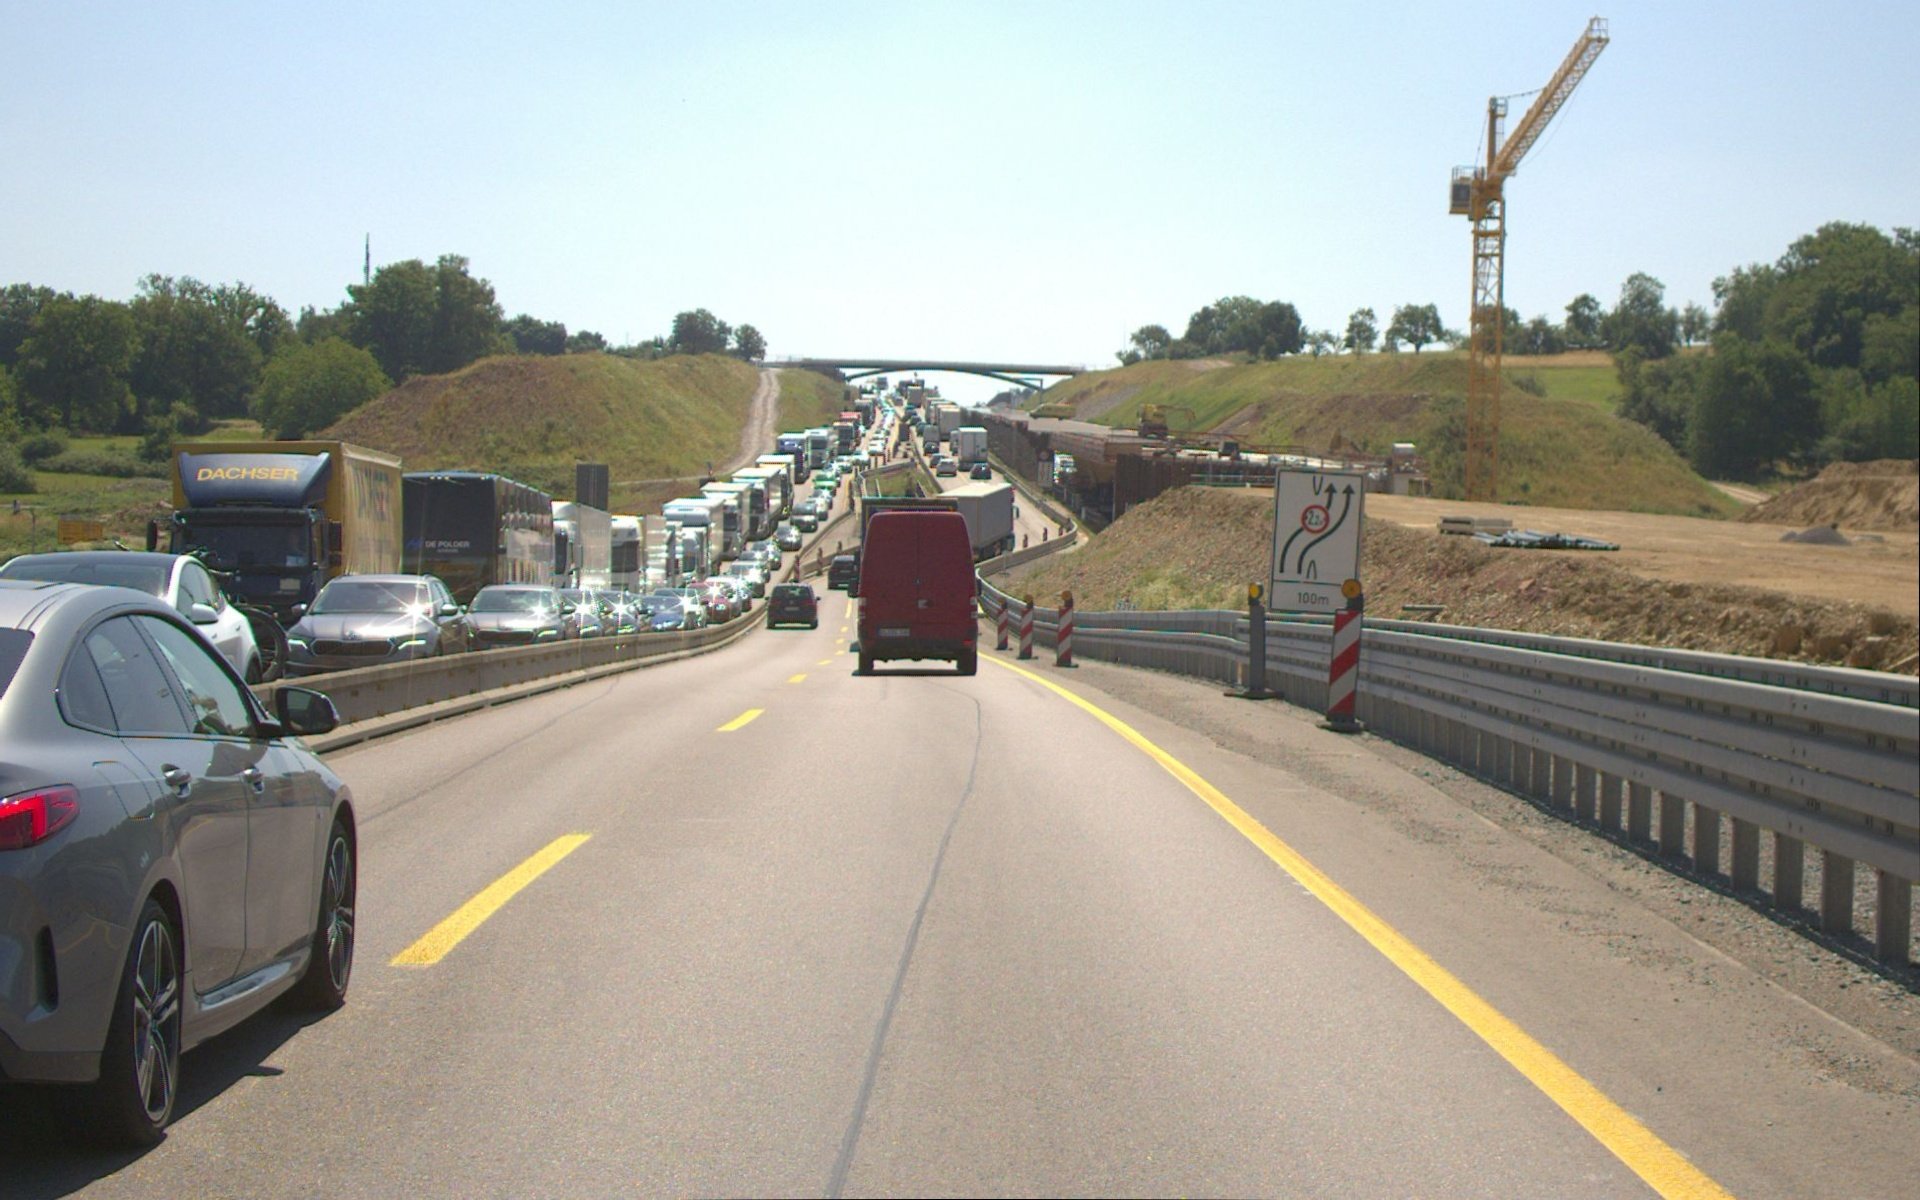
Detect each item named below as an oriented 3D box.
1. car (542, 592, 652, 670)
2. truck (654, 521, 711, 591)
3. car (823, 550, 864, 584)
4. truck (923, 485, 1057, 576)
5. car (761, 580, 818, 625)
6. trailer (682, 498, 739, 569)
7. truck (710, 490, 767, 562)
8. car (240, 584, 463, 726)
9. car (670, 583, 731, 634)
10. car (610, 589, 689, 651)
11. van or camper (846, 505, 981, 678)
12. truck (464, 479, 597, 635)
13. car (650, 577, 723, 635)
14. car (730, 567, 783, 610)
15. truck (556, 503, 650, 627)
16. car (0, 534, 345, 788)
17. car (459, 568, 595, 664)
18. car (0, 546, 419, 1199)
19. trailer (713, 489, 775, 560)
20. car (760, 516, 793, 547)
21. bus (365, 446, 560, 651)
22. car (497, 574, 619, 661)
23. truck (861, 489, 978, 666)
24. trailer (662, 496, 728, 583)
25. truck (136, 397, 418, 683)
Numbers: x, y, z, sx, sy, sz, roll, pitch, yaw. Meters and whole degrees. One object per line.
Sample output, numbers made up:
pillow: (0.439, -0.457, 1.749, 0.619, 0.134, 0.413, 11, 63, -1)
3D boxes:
car: (-7.684, 0.638, 73.258, 1.918, 1.418, 5.091, 1, 2, -2)
truck: (-12.886, -2.079, 159.992, 2.433, 3.137, 7.025, 0, 2, -3)
car: (-5.828, -1.656, 172.051, 2.012, 1.539, 4.133, 2, 1, -2)
truck: (1.889, -4.117, 201.479, 5.163, 4.980, 13.869, 2, 2, 11)
car: (-6.209, 0.074, 125.120, 2.012, 1.539, 4.133, 1, 1, -3)
trailer: (-14.268, -3.759, 197.443, 2.783, 3.918, 11.009, 1, 0, -2)
truck: (-14.239, -4.799, 221.161, 3.052, 4.465, 5.980, 1, 2, 2)
car: (-7.230, 0.611, 41.344, 1.882, 1.427, 5.125, 2, 1, -2)
car: (-9.327, 0.294, 123.979, 1.993, 1.625, 4.759, 2, 1, -2)
car: (-8.240, 0.509, 91.574, 1.812, 1.433, 5.122, 2, 1, -2)
van or camper: (-0.816, -0.185, 57.186, 2.029, 2.735, 4.516, 1, 1, -3)
truck: (-12.011, -1.215, 96.676, 3.097, 4.183, 6.703, 1, 1, -2)
car: (-8.420, 0.160, 106.337, 1.993, 1.615, 4.883, 1, 2, -2)
car: (-8.537, -0.505, 144.461, 1.993, 1.551, 4.339, 5, 1, -2)
truck: (-12.396, -1.213, 119.675, 2.977, 4.170, 5.875, 1, 0, -4)
car: (-6.615, 0.382, 27.574, 2.371, 1.720, 5.781, 1, 2, -1)
car: (-7.241, 0.245, 57.871, 1.859, 1.489, 4.905, -2, 0, -3)
car: (-2.890, 0.610, 9.822, 1.852, 1.447, 4.742, 2, 2, 1)
trailer: (-14.172, -4.976, 226.530, 3.042, 4.536, 12.127, 1, 1, 1)
car: (-11.373, -4.244, 212.806, 1.993, 1.777, 4.001, 2, 2, -3)
bus: (-11.294, -1.279, 79.464, 2.739, 4.249, 14.478, 1, 2, -2)
car: (-7.527, 0.300, 64.722, 1.838, 1.438, 4.930, 1, 2, -2)
truck: (-1.064, -0.689, 95.301, 3.020, 4.677, 6.933, -1, 1, 0)
trailer: (-13.429, -3.089, 174.787, 2.594, 4.242, 12.469, 0, 1, -1)
truck: (-10.876, -0.877, 55.786, 2.802, 4.138, 10.080, 2, 0, -2)
